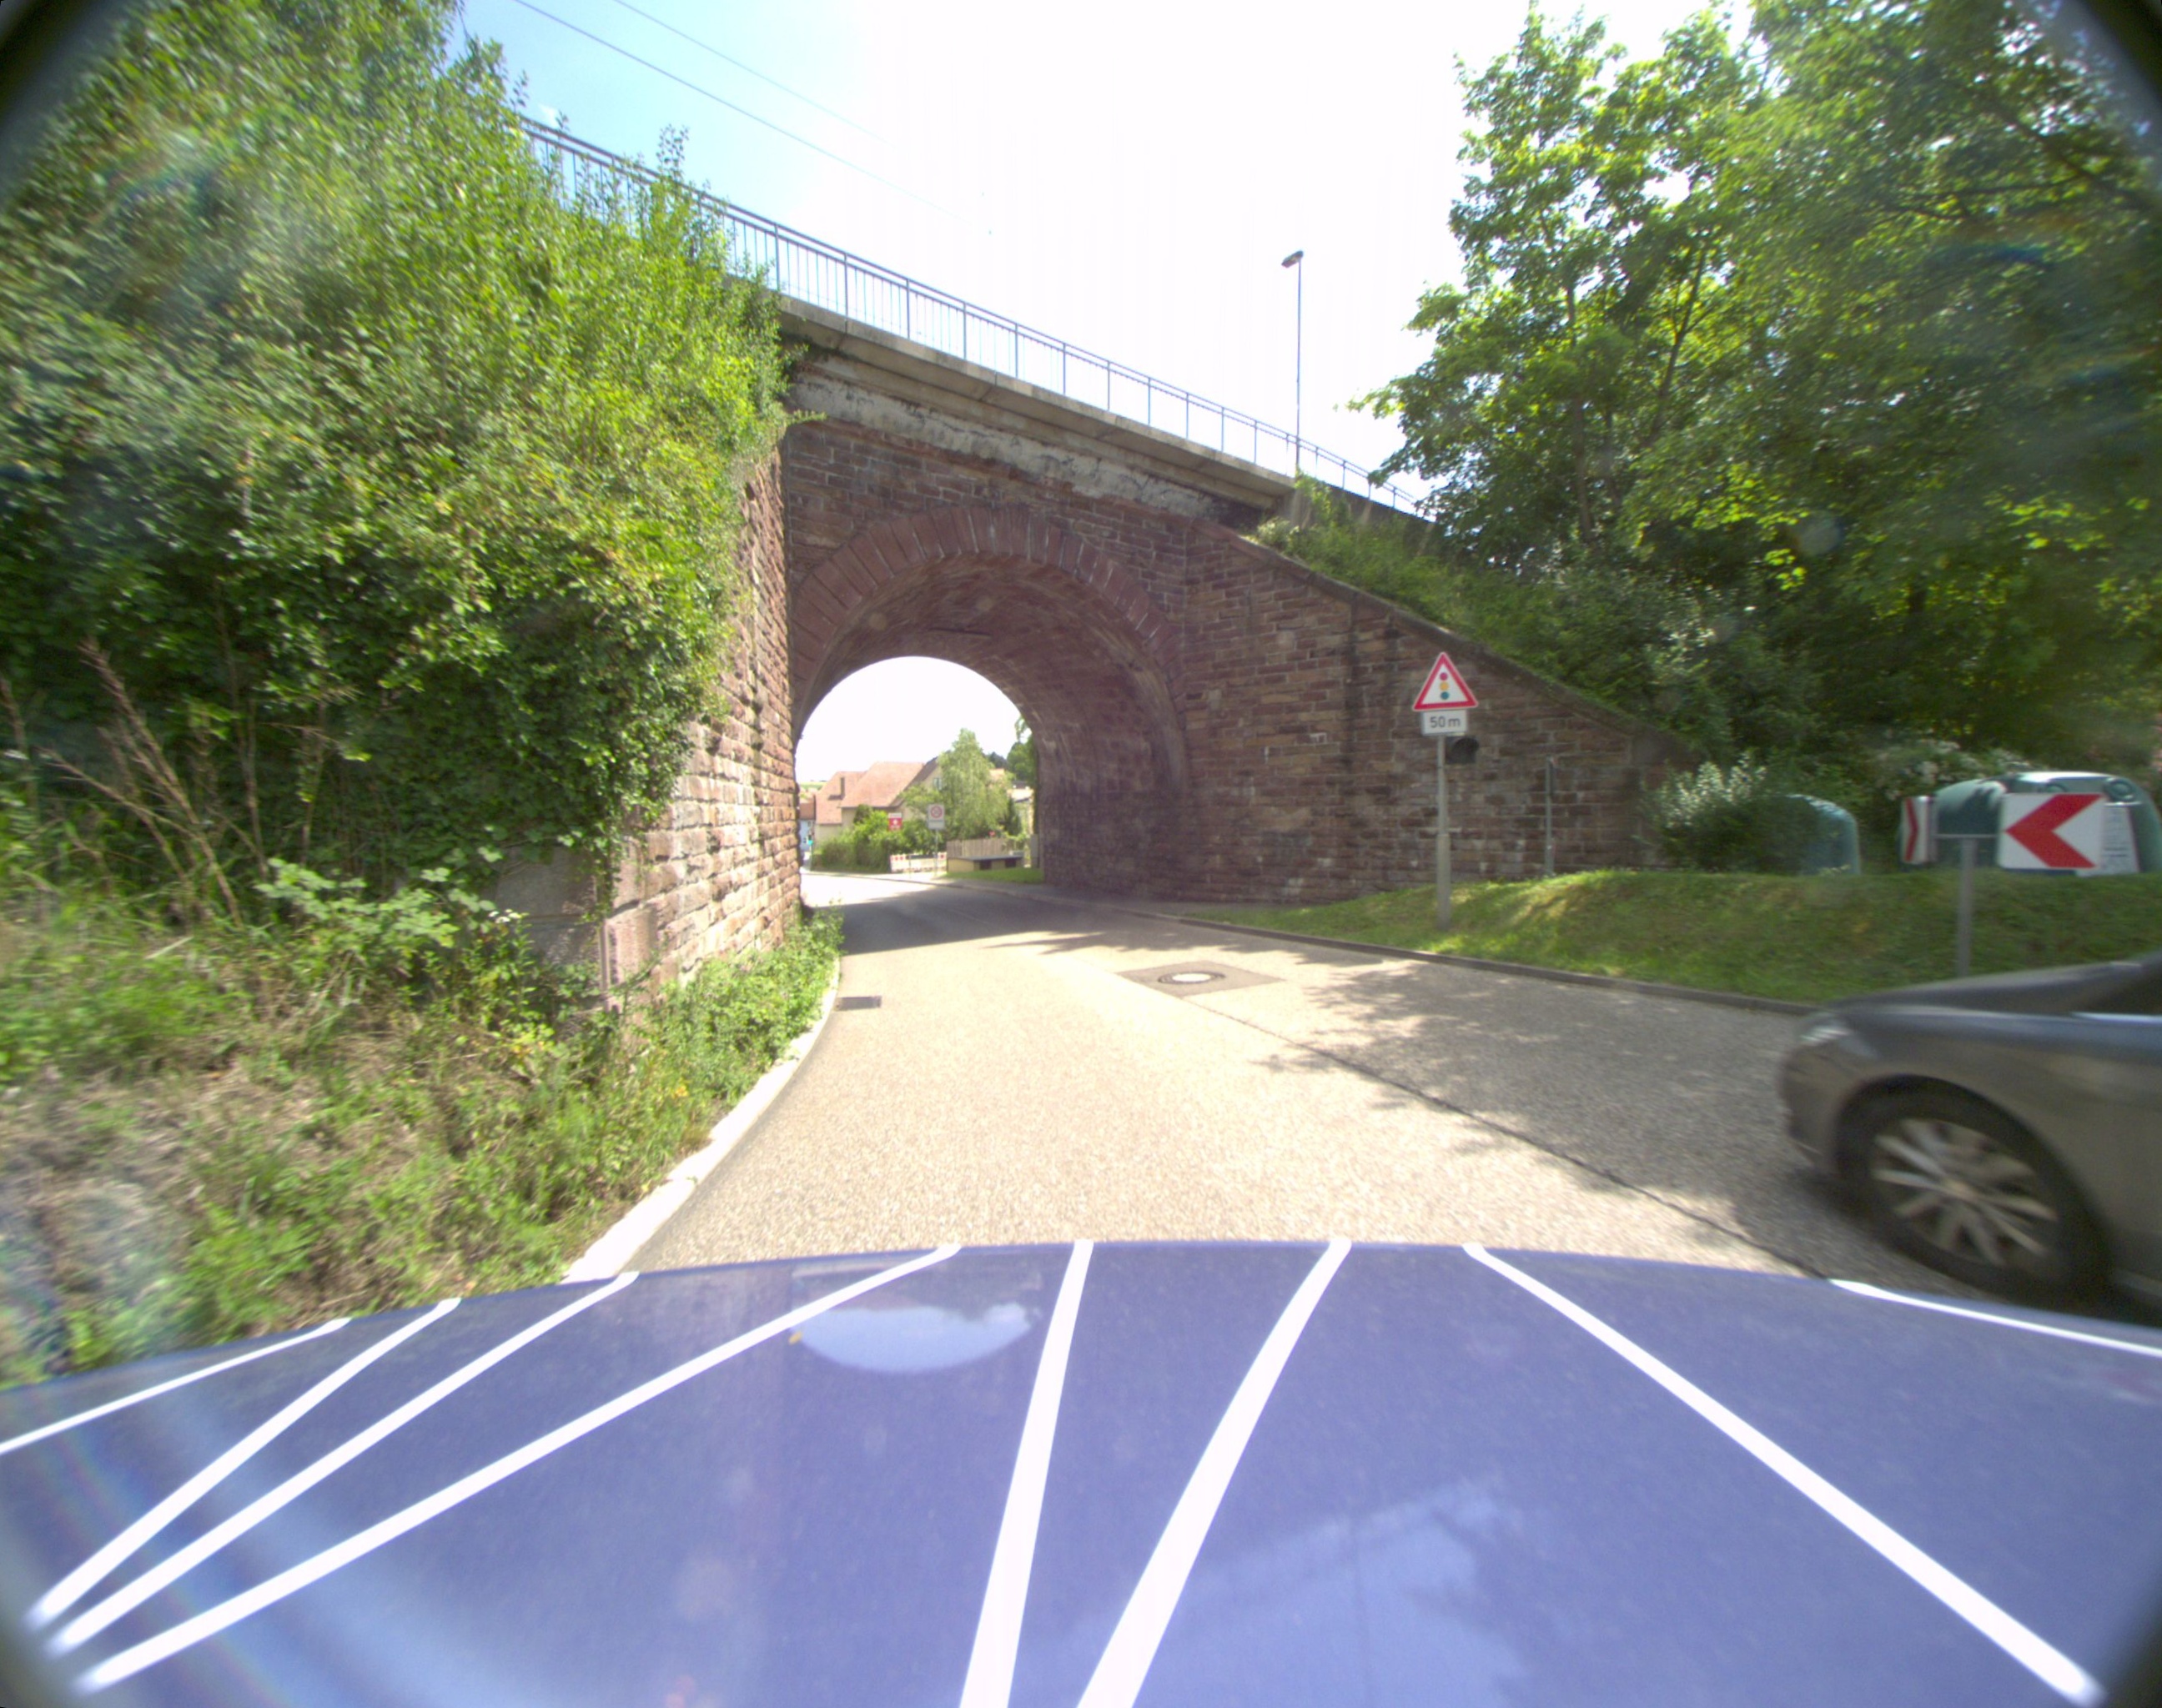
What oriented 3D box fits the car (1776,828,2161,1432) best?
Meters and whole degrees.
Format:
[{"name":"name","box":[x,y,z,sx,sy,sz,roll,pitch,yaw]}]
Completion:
[{"name":"car","box":[3.662,0.687,0.944,1.723,1.546,4.128,-3,0,-1]}]
